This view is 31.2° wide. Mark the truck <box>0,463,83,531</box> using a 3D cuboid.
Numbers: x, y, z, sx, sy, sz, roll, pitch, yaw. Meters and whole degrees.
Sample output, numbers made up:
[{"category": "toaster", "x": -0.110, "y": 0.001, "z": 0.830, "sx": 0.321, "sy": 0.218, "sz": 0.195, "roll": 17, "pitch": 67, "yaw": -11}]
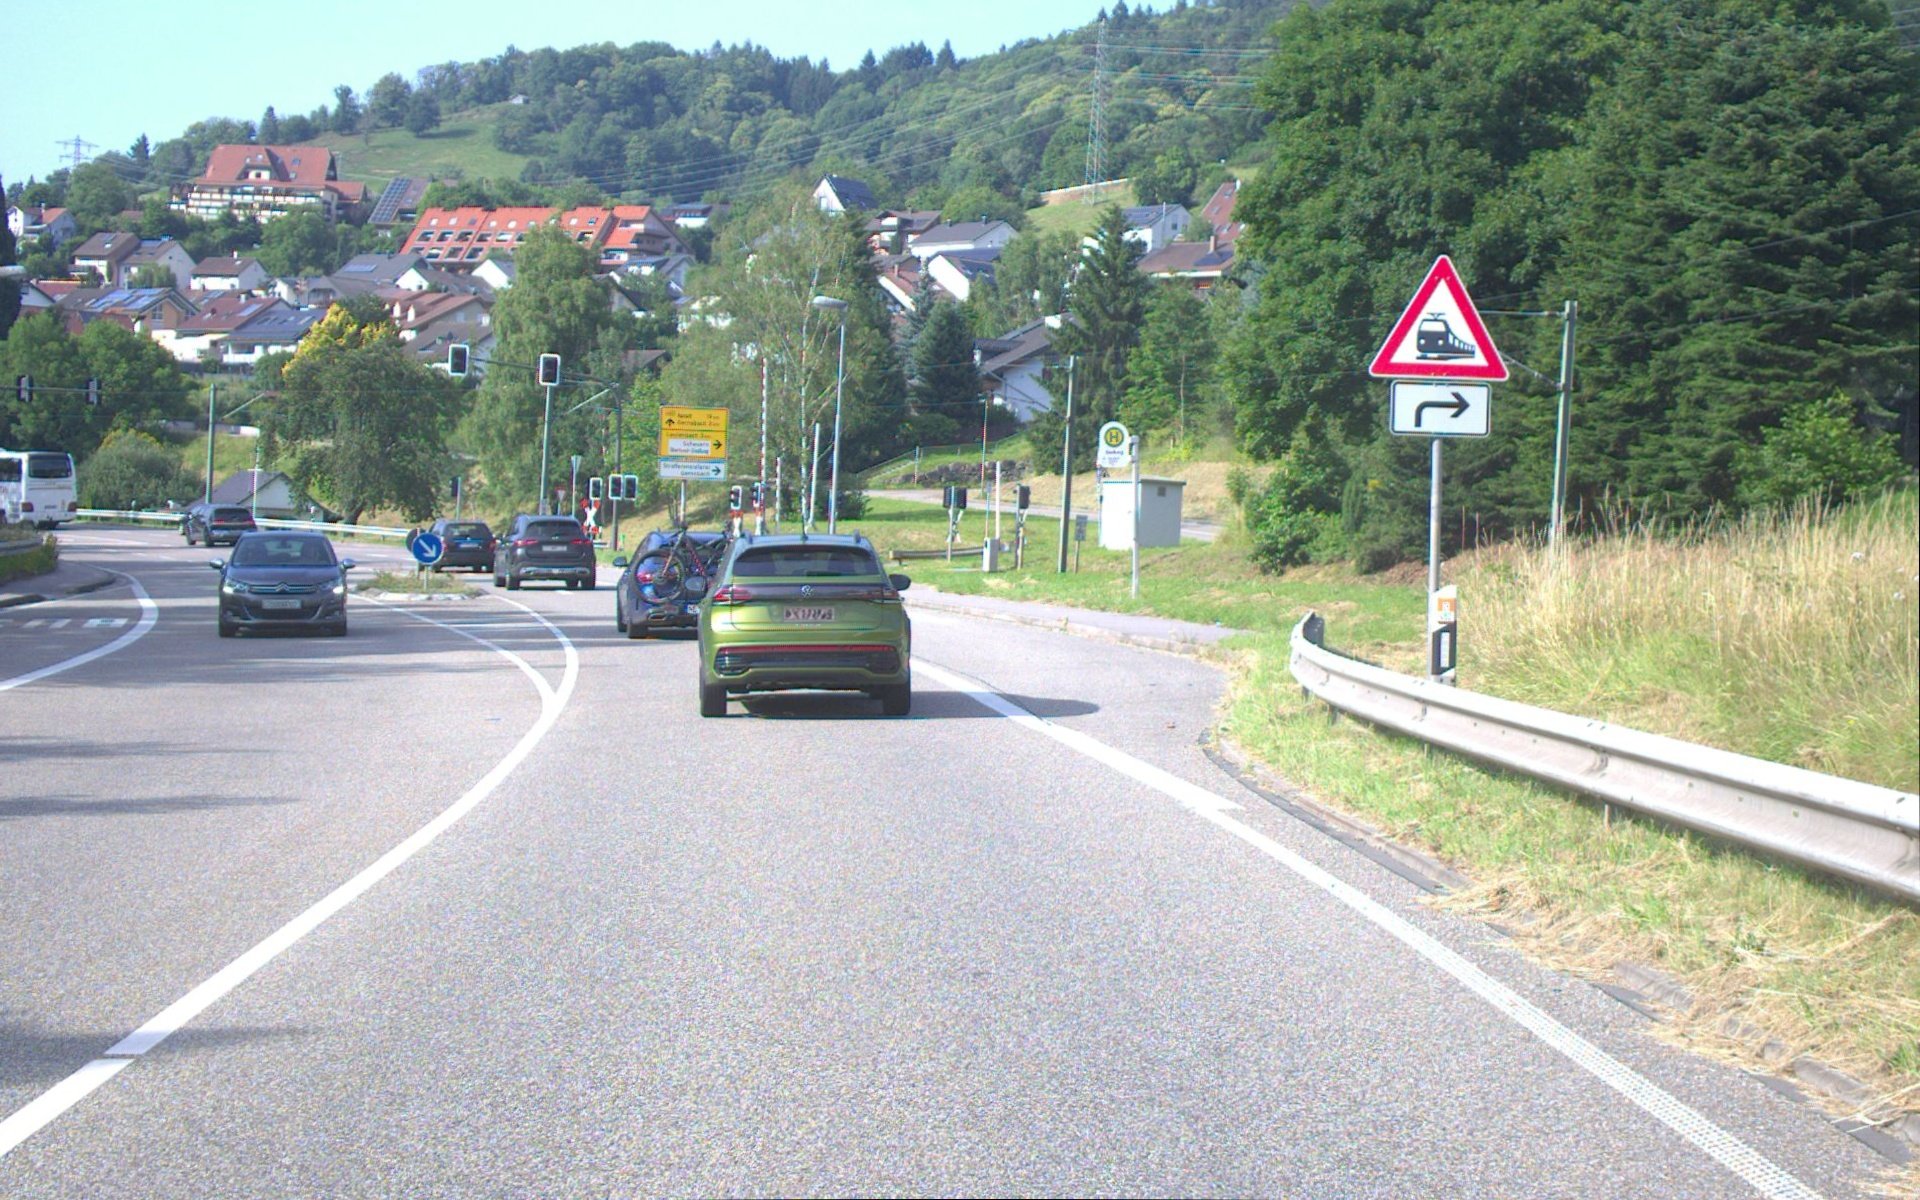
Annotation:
[{"category": "truck", "x": -43.198, "y": -4.792, "z": 160.200, "sx": 2.712, "sy": 3.073, "sz": 6.109, "roll": 1, "pitch": 1, "yaw": -32}]

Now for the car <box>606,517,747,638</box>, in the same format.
[{"category": "car", "x": -3.870, "y": -0.332, "z": 46.432, "sx": 1.666, "sy": 1.554, "sz": 4.001, "roll": 1, "pitch": 1, "yaw": -8}]

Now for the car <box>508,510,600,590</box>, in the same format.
[{"category": "car", "x": -8.967, "y": -1.115, "z": 75.633, "sx": 1.879, "sy": 1.681, "sz": 4.001, "roll": 1, "pitch": 1, "yaw": -8}]

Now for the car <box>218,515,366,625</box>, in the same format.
[{"category": "car", "x": -9.469, "y": -0.450, "z": 48.985, "sx": 1.890, "sy": 1.483, "sz": 4.001, "roll": -1, "pitch": 1, "yaw": -9}]

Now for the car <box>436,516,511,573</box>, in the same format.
[{"category": "car", "x": -13.311, "y": -1.536, "z": 94.016, "sx": 1.848, "sy": 1.521, "sz": 3.663, "roll": -1, "pitch": 1, "yaw": -11}]

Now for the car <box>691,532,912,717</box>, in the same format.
[{"category": "car", "x": -1.407, "y": 0.155, "z": 29.152, "sx": 1.714, "sy": 1.450, "sz": 4.001, "roll": 0, "pitch": 1, "yaw": -5}]

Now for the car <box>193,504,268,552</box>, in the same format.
[{"category": "car", "x": -28.133, "y": -2.774, "z": 132.522, "sx": 2.063, "sy": 1.805, "sz": 4.001, "roll": 0, "pitch": 1, "yaw": -23}]
